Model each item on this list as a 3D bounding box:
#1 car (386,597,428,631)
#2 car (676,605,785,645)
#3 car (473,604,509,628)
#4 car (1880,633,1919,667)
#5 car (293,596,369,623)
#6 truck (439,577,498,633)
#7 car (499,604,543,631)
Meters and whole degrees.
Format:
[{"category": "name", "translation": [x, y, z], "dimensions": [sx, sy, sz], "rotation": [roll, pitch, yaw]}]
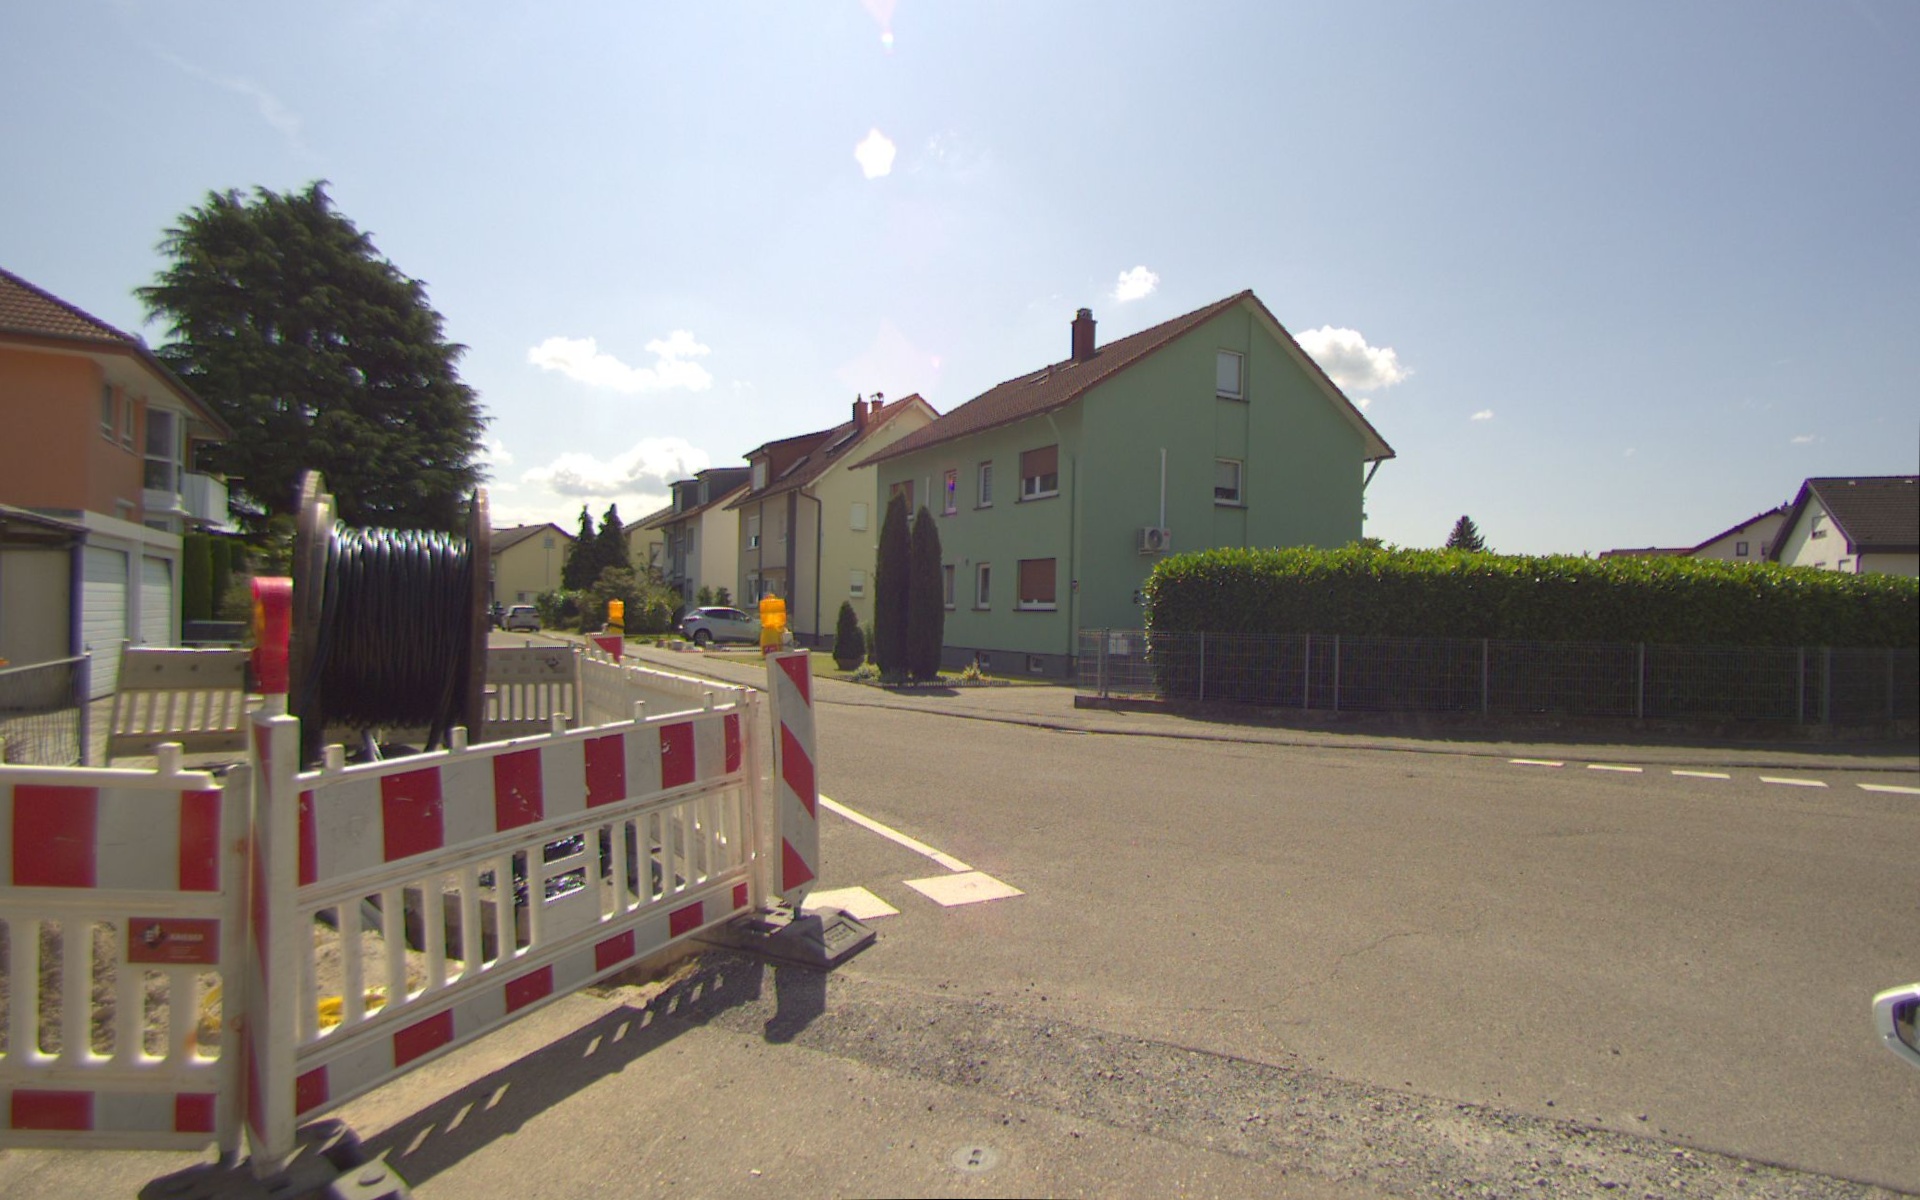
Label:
[{"category": "car", "translation": [-30.268, 0.763, 54.919], "dimensions": [1.794, 1.786, 4.170], "rotation": [2, -1, -32]}, {"category": "car", "translation": [-9.026, 0.967, 39.522], "dimensions": [3.878, 1.530, 1.760], "rotation": [1, 0, -29]}, {"category": "car", "translation": [-32.289, 1.083, 69.079], "dimensions": [1.794, 1.515, 3.965], "rotation": [2, -1, -32]}, {"category": "car", "translation": [42.661, 2.222, 43.645], "dimensions": [3.541, 1.427, 1.783], "rotation": [1, -1, 22]}, {"category": "car", "translation": [-42.609, 0.657, 68.163], "dimensions": [4.152, 1.675, 1.801], "rotation": [2, -1, -27]}, {"category": "truck", "translation": [-27.165, 0.241, 55.340], "dimensions": [2.412, 2.825, 7.240], "rotation": [-2, 1, -30]}, {"category": "car", "translation": [-25.470, 0.992, 58.210], "dimensions": [1.794, 1.515, 3.965], "rotation": [2, -1, -32]}]
